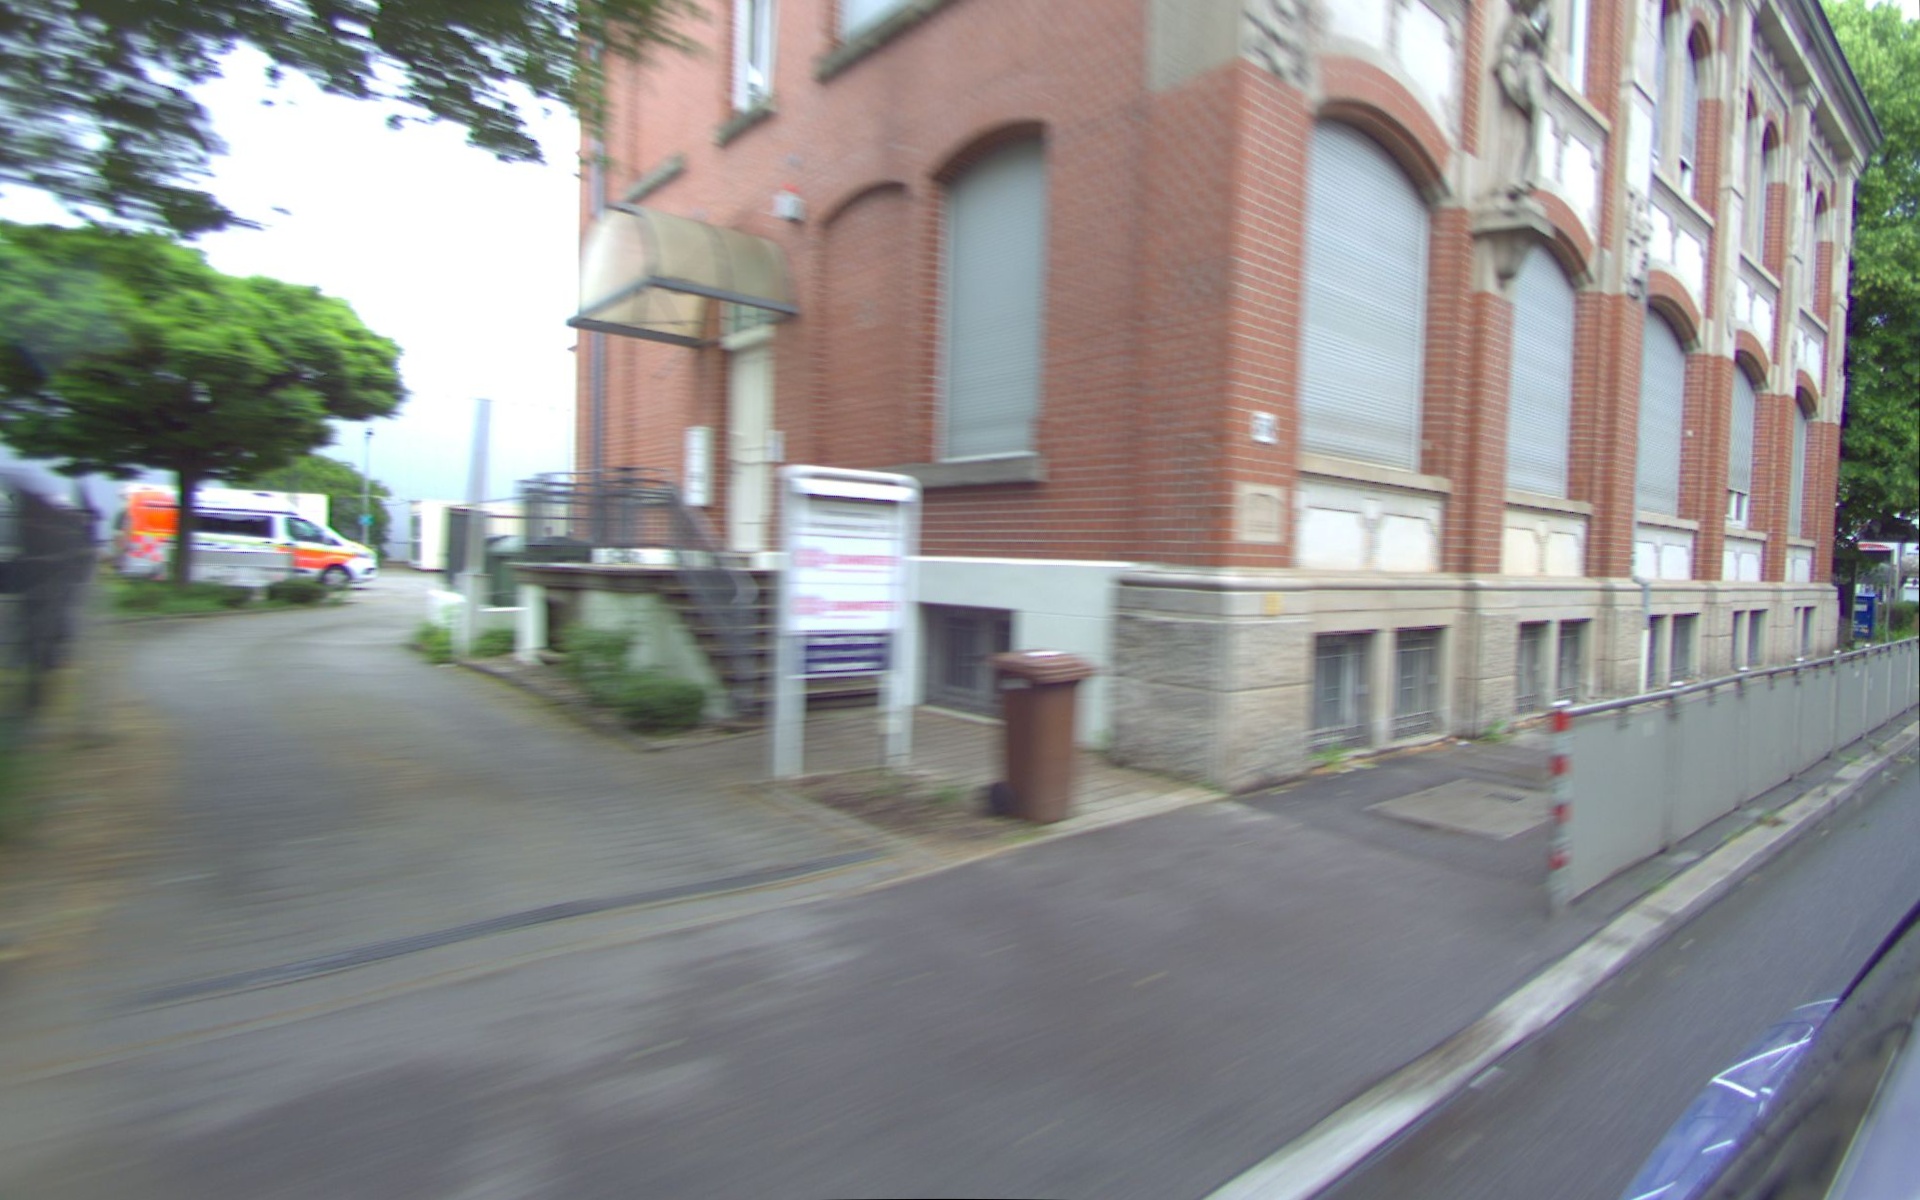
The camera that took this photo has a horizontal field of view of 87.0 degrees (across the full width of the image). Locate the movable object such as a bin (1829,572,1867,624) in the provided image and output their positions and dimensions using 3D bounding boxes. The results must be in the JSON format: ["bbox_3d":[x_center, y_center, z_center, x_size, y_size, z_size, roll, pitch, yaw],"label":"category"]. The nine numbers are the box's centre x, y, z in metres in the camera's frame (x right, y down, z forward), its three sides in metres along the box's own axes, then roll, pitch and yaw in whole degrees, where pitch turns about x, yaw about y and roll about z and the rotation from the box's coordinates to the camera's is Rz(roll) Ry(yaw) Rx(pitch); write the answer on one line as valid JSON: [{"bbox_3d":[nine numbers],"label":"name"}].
[{"bbox_3d":[26.655,-0.067,30.375,0.615,1.526,0.738,0,3,-43],"label":"movable object such as a bin"}]

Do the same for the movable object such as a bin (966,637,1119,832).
[{"bbox_3d":[0.457,0.712,5.644,0.562,0.944,0.592,0,3,-41],"label":"movable object such as a bin"}]

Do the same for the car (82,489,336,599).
[{"bbox_3d":[-14.900,-1.057,20.222,3.927,1.973,1.818,-1,1,-40],"label":"car"}]

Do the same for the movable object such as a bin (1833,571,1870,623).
[{"bbox_3d":[27.139,-0.096,30.811,0.615,1.526,0.738,0,3,-43],"label":"movable object such as a bin"}]

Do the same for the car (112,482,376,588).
[{"bbox_3d":[-17.718,-1.523,25.222,5.204,2.358,2.035,-1,1,-40],"label":"car"}]
